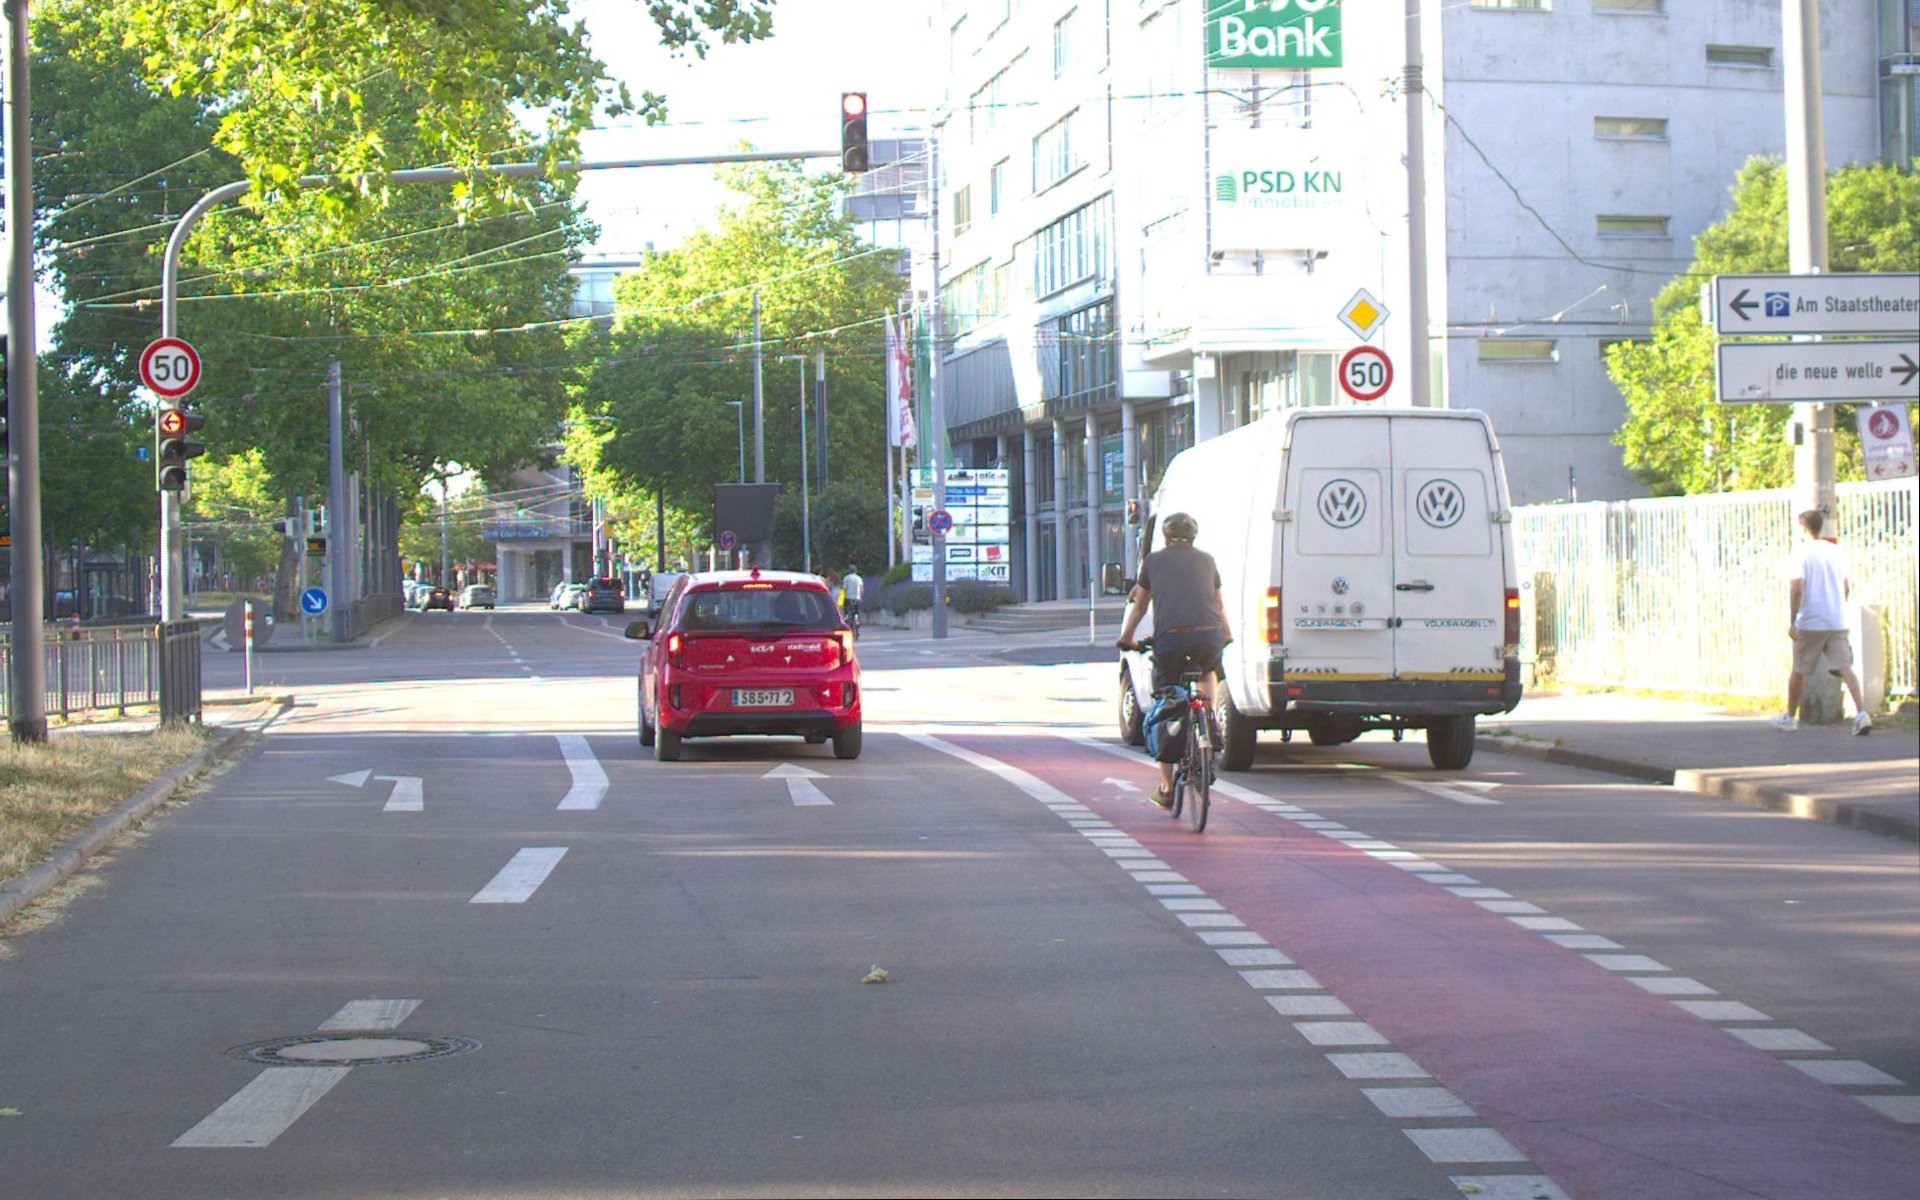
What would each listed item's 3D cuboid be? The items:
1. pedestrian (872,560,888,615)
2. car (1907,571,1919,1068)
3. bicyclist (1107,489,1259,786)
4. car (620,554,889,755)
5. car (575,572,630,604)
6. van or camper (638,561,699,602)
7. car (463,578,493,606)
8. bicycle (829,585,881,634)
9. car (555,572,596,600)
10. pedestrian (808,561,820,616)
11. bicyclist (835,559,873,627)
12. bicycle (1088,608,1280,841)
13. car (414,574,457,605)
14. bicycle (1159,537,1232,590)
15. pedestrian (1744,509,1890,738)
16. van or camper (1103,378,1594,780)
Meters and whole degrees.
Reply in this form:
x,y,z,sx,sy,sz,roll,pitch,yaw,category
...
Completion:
x,y,z,sx,sy,sz,roll,pitch,yaw,category
-2.277,-0.356,97.742,0.313,1.557,0.295,-1,1,23,pedestrian
3.490,0.676,8.601,1.803,1.496,3.980,0,1,10,car
1.270,0.206,19.682,0.743,1.663,0.745,0,1,-6,bicyclist
-1.746,0.393,28.093,1.839,1.484,3.717,-1,1,-8,car
-18.526,-0.622,178.155,2.477,1.523,4.433,-2,1,-10,car
-13.002,-0.826,153.047,2.145,1.744,4.433,-2,1,-11,van or camper
-29.293,-0.478,209.044,1.657,1.601,3.532,-2,1,-9,car
-2.575,0.229,84.016,0.792,1.157,2.500,-1,1,-12,bicycle
-22.220,-0.833,198.592,1.884,1.523,4.433,-2,1,-11,car
-4.174,-0.339,98.189,0.294,1.557,0.302,-2,1,-6,pedestrian
-2.590,-0.168,84.094,0.785,1.629,0.639,-1,1,-11,bicyclist
1.258,0.680,19.746,0.743,1.220,2.156,0,1,-6,bicycle
-29.659,-0.604,194.205,2.057,1.648,3.493,-2,1,-13,car
6.644,-1.031,96.946,1.934,1.438,0.575,-2,1,-9,bicycle
6.726,0.177,27.017,0.786,1.742,0.772,-2,1,-16,pedestrian
2.815,-0.169,26.824,2.268,2.724,6.348,1,0,-8,van or camper
